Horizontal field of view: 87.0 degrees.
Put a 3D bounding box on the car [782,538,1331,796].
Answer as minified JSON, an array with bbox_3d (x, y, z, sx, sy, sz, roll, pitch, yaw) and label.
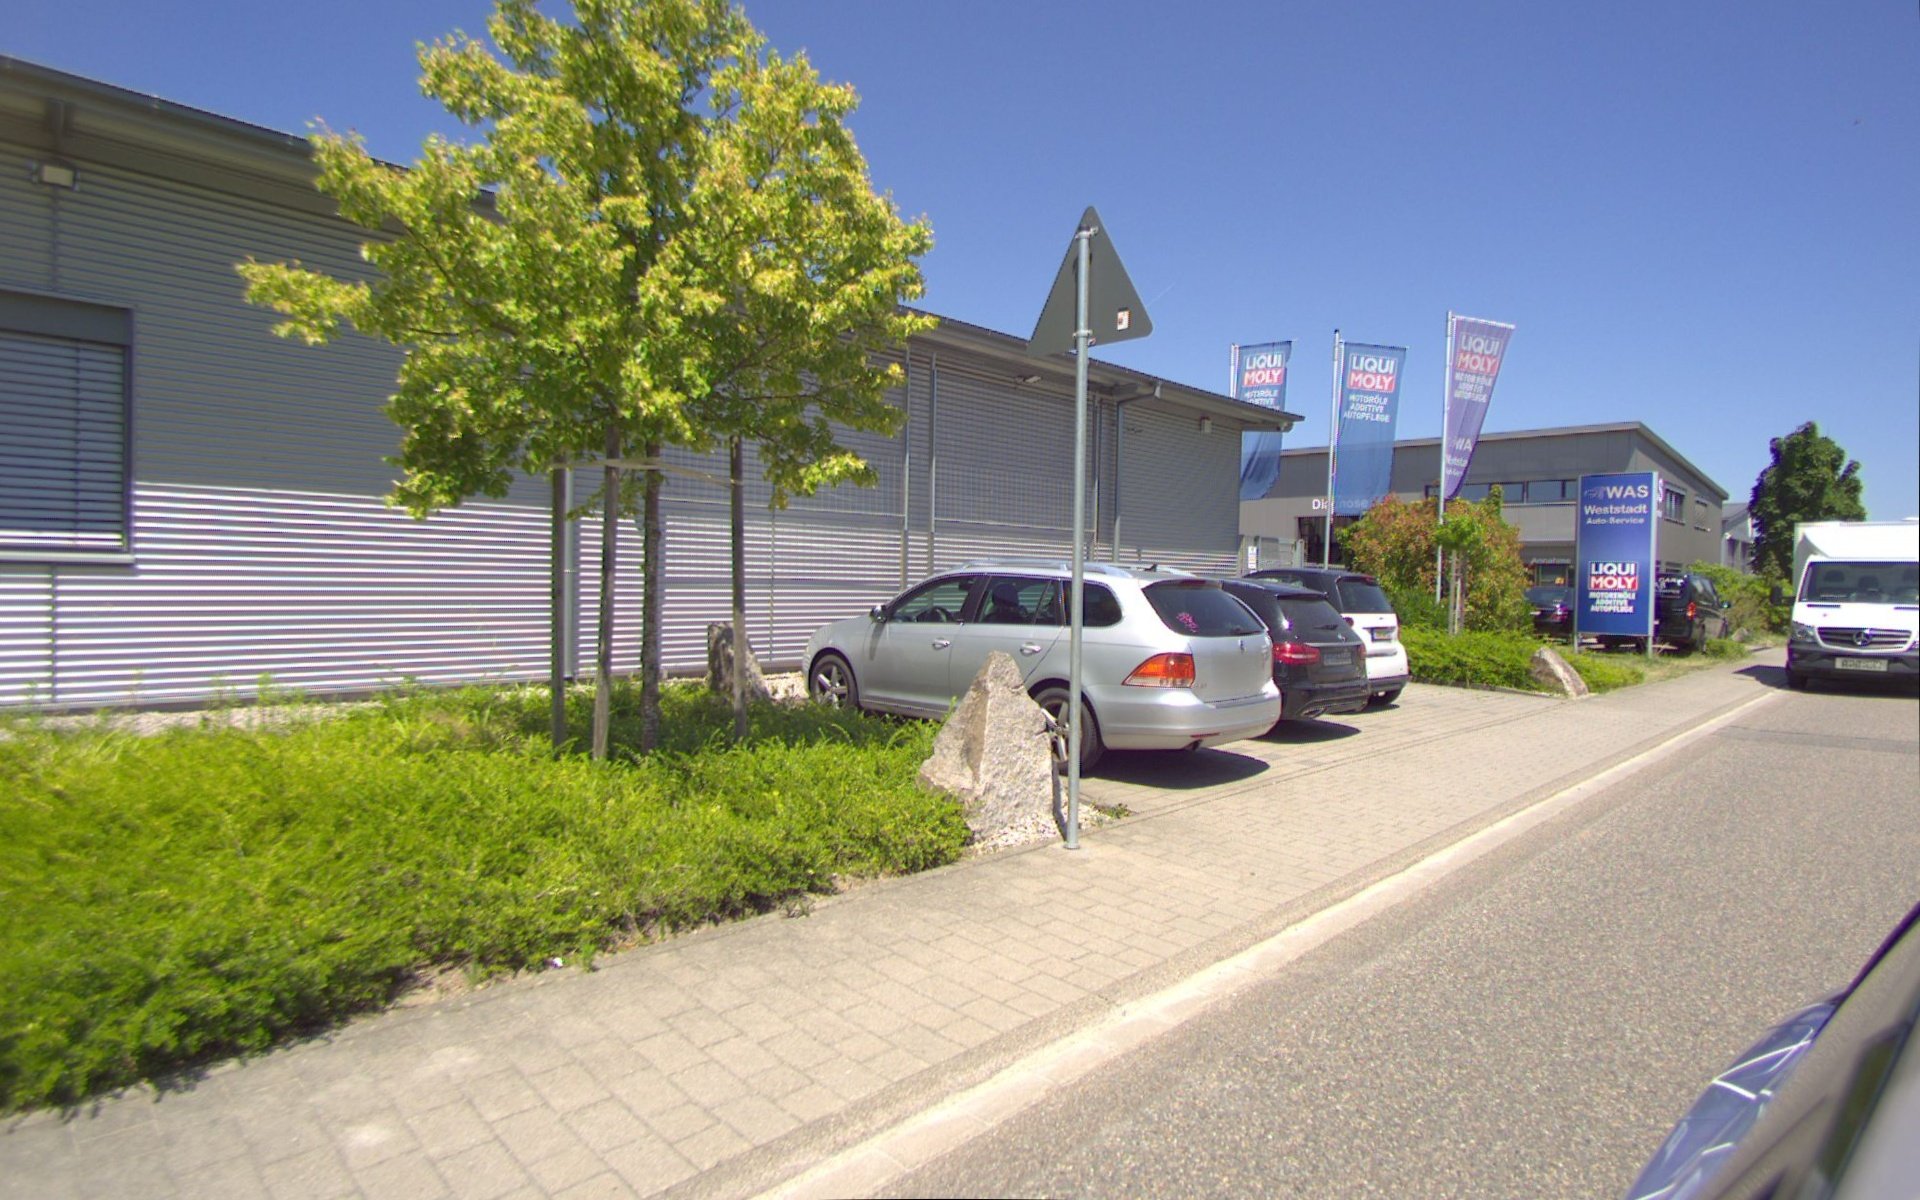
[{"bbox_3d":[0.591,0.321,8.425,4.279,1.560,1.884,4,3,43],"label":"car"}]

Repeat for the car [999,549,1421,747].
[{"bbox_3d":[2.378,0.322,10.249,1.881,1.560,3.698,0,3,-43],"label":"car"}]

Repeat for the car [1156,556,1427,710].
[{"bbox_3d":[3.880,0.299,12.073,1.389,1.560,2.710,0,3,-43],"label":"car"}]

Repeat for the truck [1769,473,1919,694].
[{"bbox_3d":[16.212,-0.274,17.522,6.767,3.245,2.460,0,2,-44],"label":"truck"}]

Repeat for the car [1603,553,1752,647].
[{"bbox_3d":[17.431,-0.044,24.455,5.249,2.038,1.995,0,2,-44],"label":"car"}]
